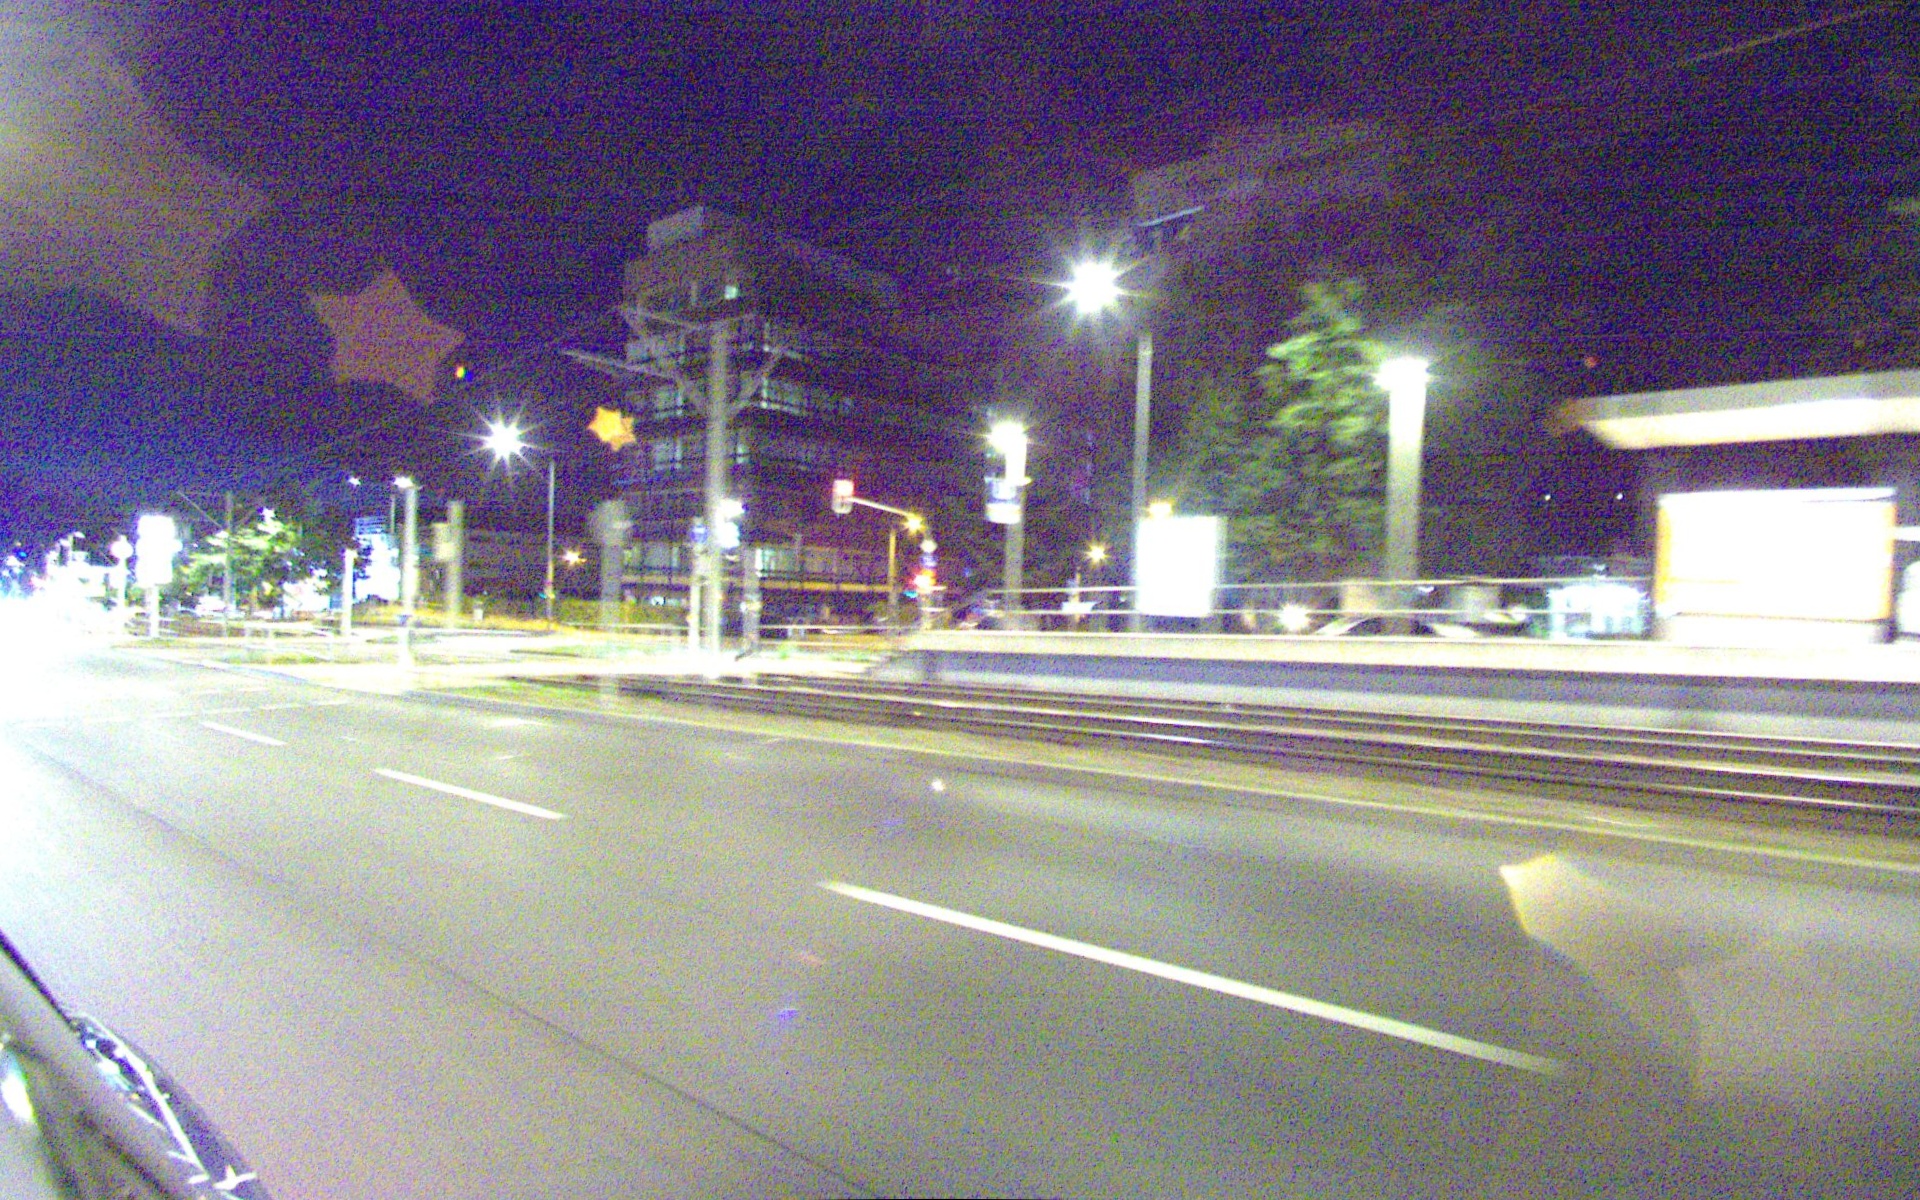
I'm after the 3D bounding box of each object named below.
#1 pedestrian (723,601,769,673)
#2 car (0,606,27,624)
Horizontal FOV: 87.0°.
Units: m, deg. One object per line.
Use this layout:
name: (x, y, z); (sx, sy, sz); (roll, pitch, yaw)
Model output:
pedestrian: (-5.196, 0.889, 24.558); (1.038, 1.701, 0.823); (1, -2, -13)
car: (-87.684, 1.355, 93.537); (3.719, 1.630, 1.882); (0, 0, 43)
